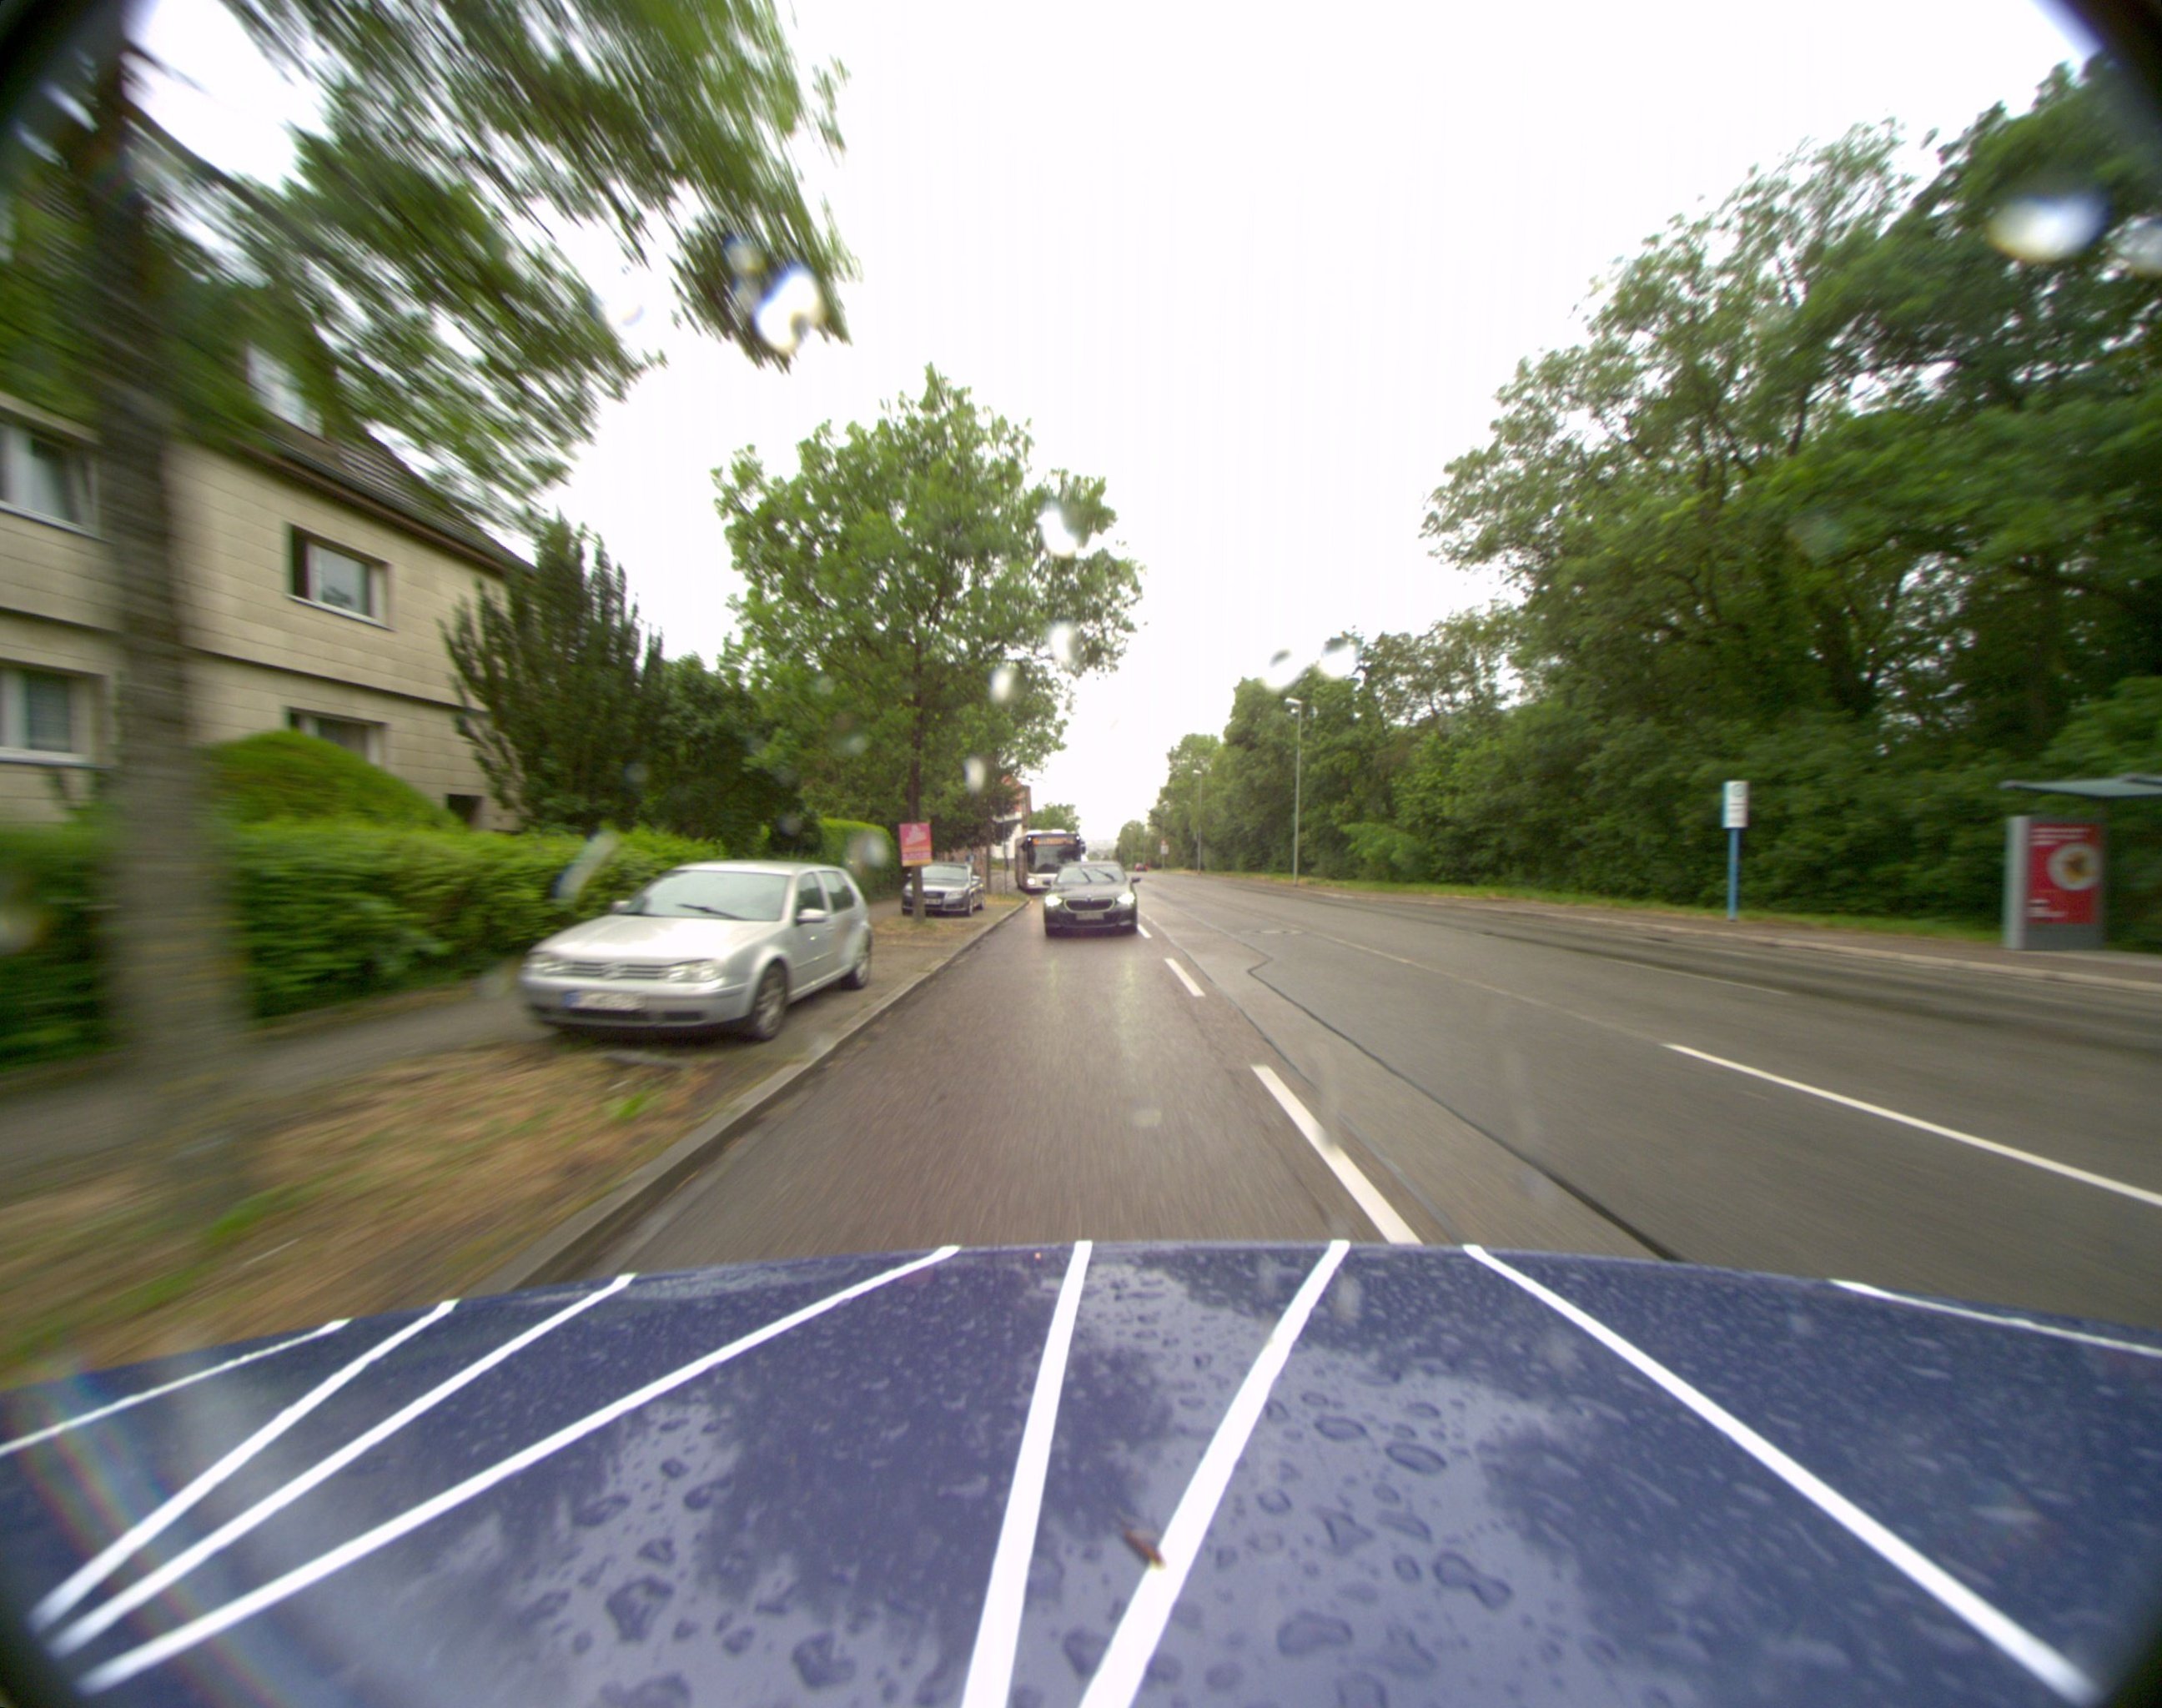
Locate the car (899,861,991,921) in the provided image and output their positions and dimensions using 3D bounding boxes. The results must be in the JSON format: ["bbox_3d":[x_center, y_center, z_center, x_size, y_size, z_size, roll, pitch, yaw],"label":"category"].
[{"bbox_3d":[-3.604,0.923,20.873,1.692,1.381,4.499,2,0,0],"label":"car"}]

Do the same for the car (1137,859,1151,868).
[{"bbox_3d":[10.056,1.493,121.195,1.748,1.423,4.388,2,0,-1],"label":"car"}]

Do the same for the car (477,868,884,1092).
[{"bbox_3d":[-3.261,0.900,7.202,1.605,1.428,4.022,2,-1,1],"label":"car"}]

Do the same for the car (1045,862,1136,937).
[{"bbox_3d":[0.168,0.952,17.698,1.855,1.461,4.482,0,0,-1],"label":"car"}]

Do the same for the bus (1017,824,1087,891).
[{"bbox_3d":[-1.666,0.164,38.597,2.564,2.942,9.442,-1,0,-8],"label":"bus"}]

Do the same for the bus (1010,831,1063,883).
[{"bbox_3d":[-2.904,0.158,47.445,2.563,2.942,8.550,-1,0,-8],"label":"bus"}]
